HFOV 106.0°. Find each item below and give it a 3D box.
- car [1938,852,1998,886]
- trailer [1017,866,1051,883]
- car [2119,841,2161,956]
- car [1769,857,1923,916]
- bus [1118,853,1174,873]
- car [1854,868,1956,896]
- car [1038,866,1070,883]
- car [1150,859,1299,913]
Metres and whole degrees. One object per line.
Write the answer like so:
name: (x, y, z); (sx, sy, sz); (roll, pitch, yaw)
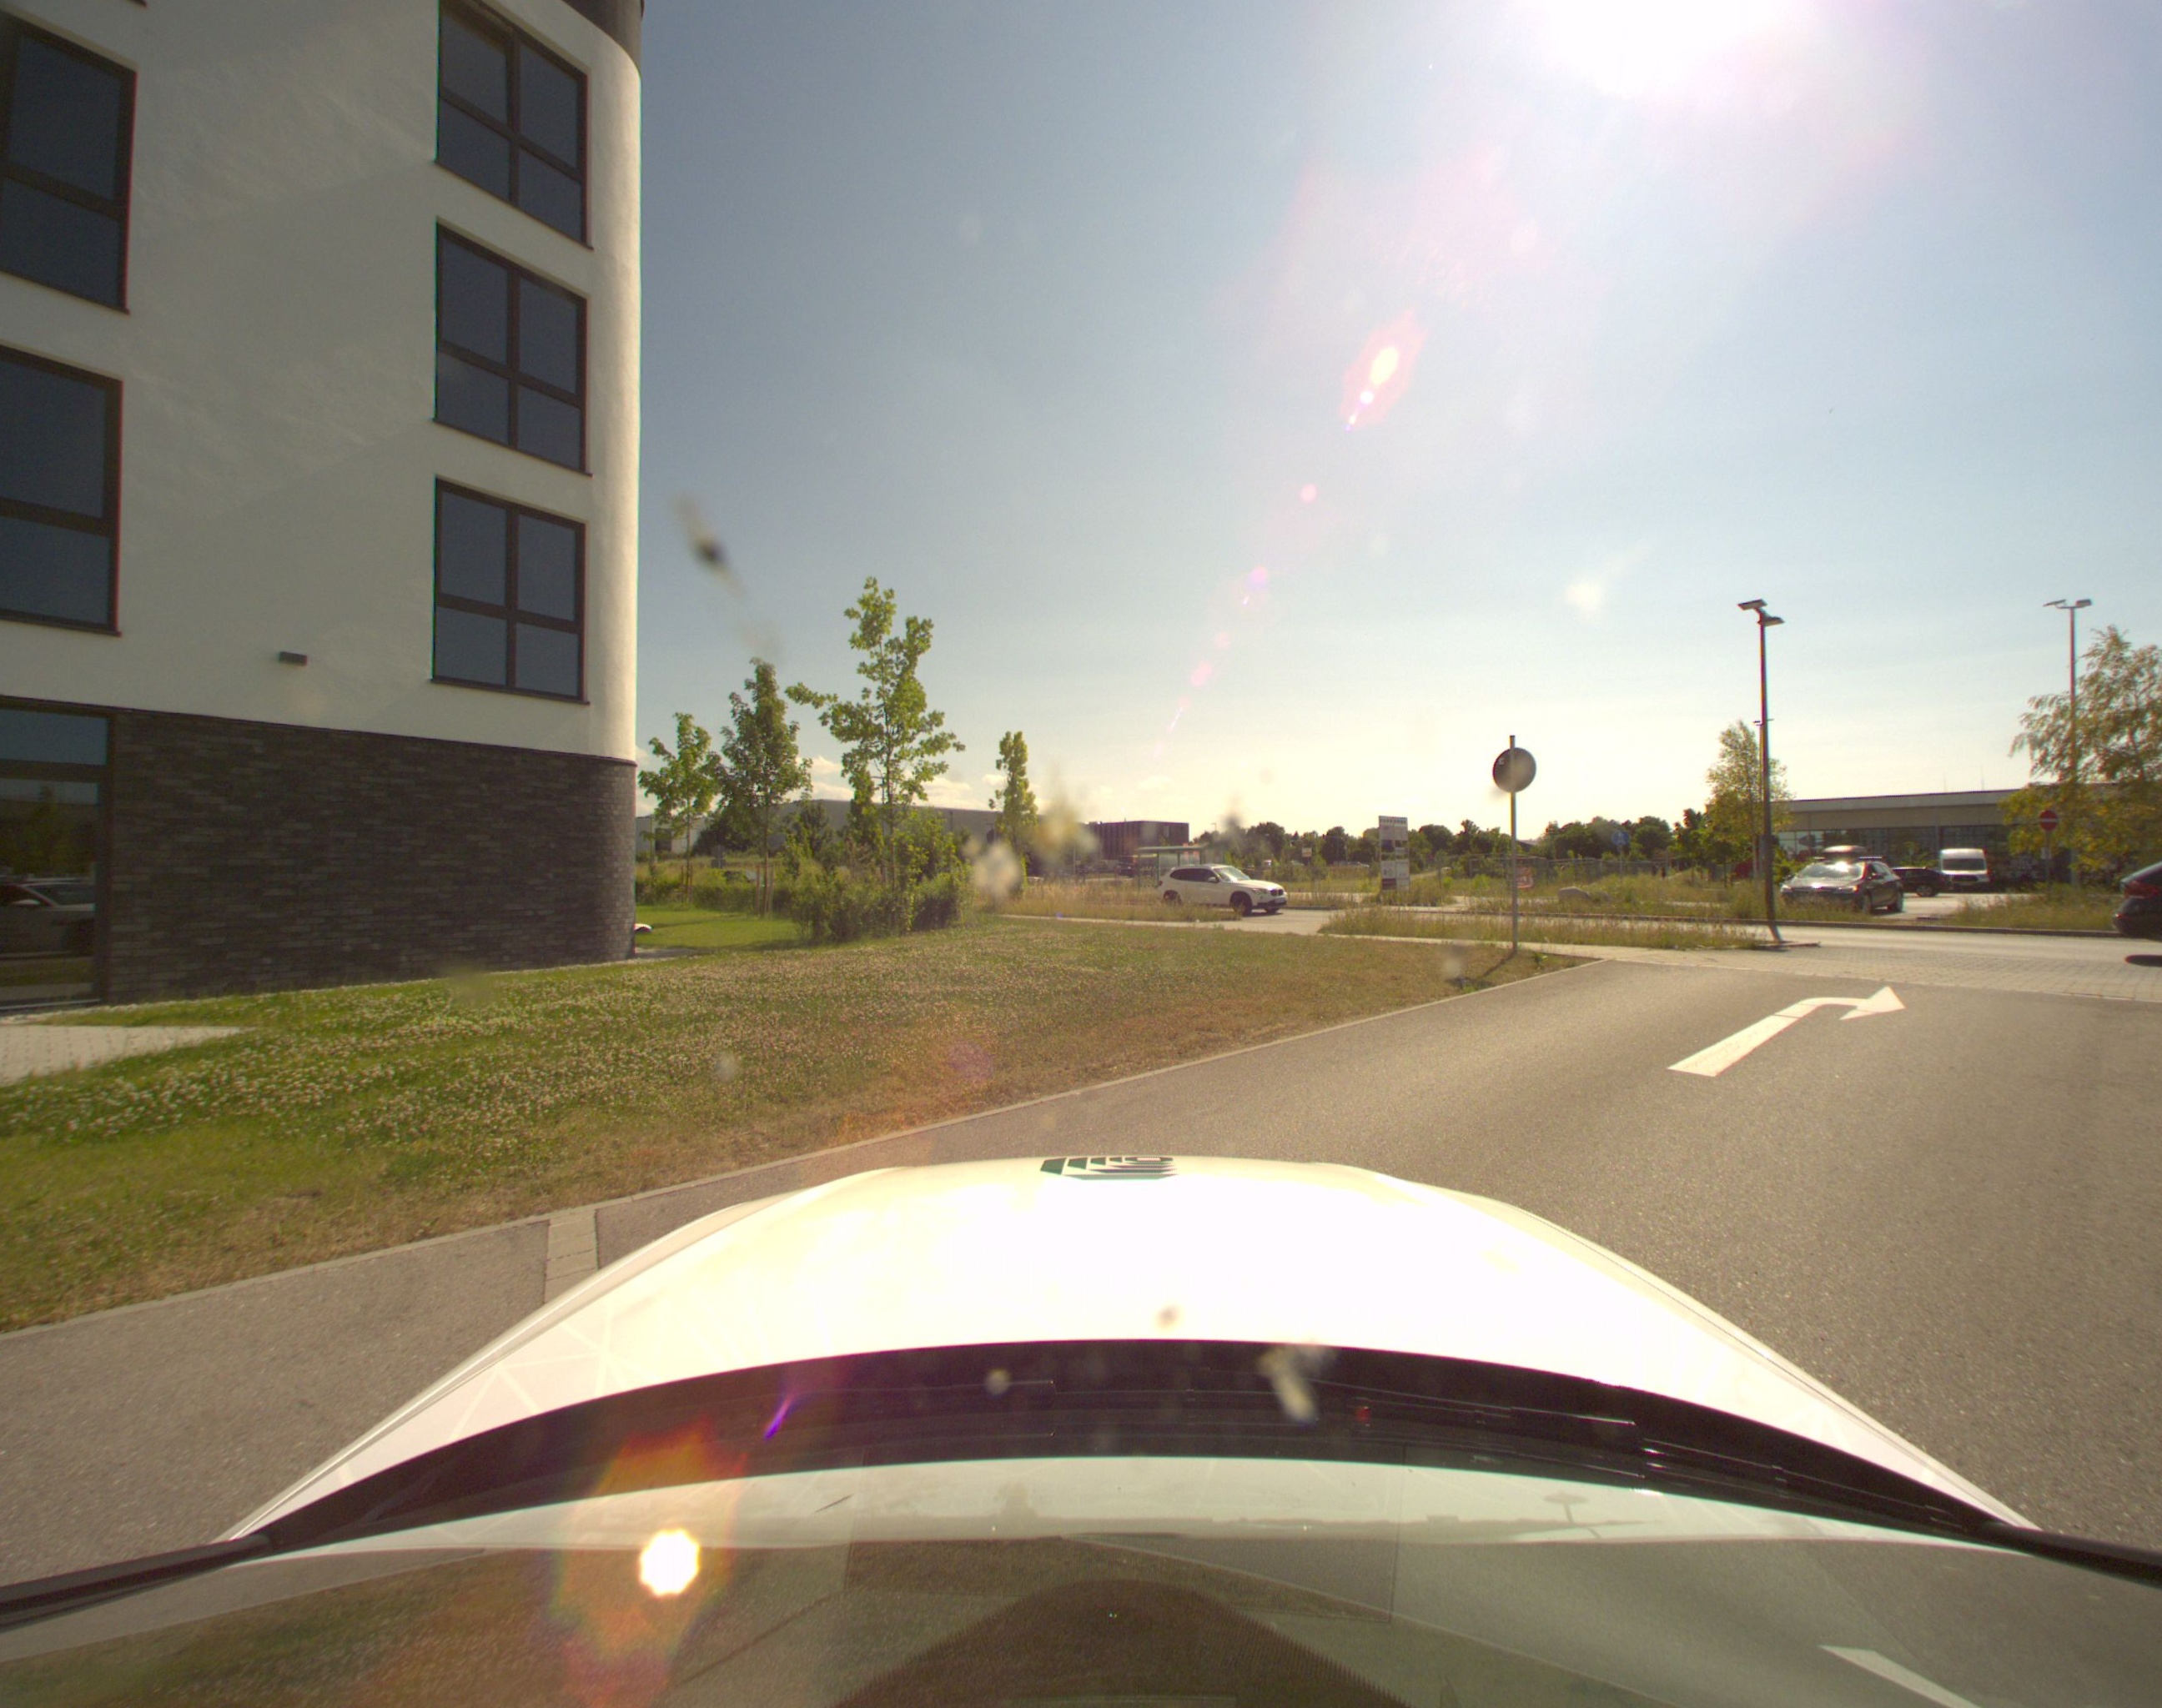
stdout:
car: (54.234, 0.920, 49.901); (6.734, 1.977, 2.202); (1, -2, -45)
trailer: (-5.386, 2.338, 93.311); (1.805, 1.860, 4.025); (0, -1, 32)
car: (16.375, 0.606, 10.076); (1.923, 1.551, 4.338); (2, -1, -38)
car: (21.401, 0.888, 22.767); (4.208, 1.517, 1.981); (1, -1, -29)
bus: (9.482, 1.240, 116.682); (2.547, 2.735, 11.642); (0, -1, 34)
car: (44.071, 1.463, 43.643); (1.782, 1.423, 3.798); (2, -1, -44)
car: (-3.204, 2.423, 96.669); (1.805, 1.860, 4.025); (0, -1, 32)
car: (4.500, 0.963, 26.069); (1.751, 1.551, 4.514); (2, -2, -45)
